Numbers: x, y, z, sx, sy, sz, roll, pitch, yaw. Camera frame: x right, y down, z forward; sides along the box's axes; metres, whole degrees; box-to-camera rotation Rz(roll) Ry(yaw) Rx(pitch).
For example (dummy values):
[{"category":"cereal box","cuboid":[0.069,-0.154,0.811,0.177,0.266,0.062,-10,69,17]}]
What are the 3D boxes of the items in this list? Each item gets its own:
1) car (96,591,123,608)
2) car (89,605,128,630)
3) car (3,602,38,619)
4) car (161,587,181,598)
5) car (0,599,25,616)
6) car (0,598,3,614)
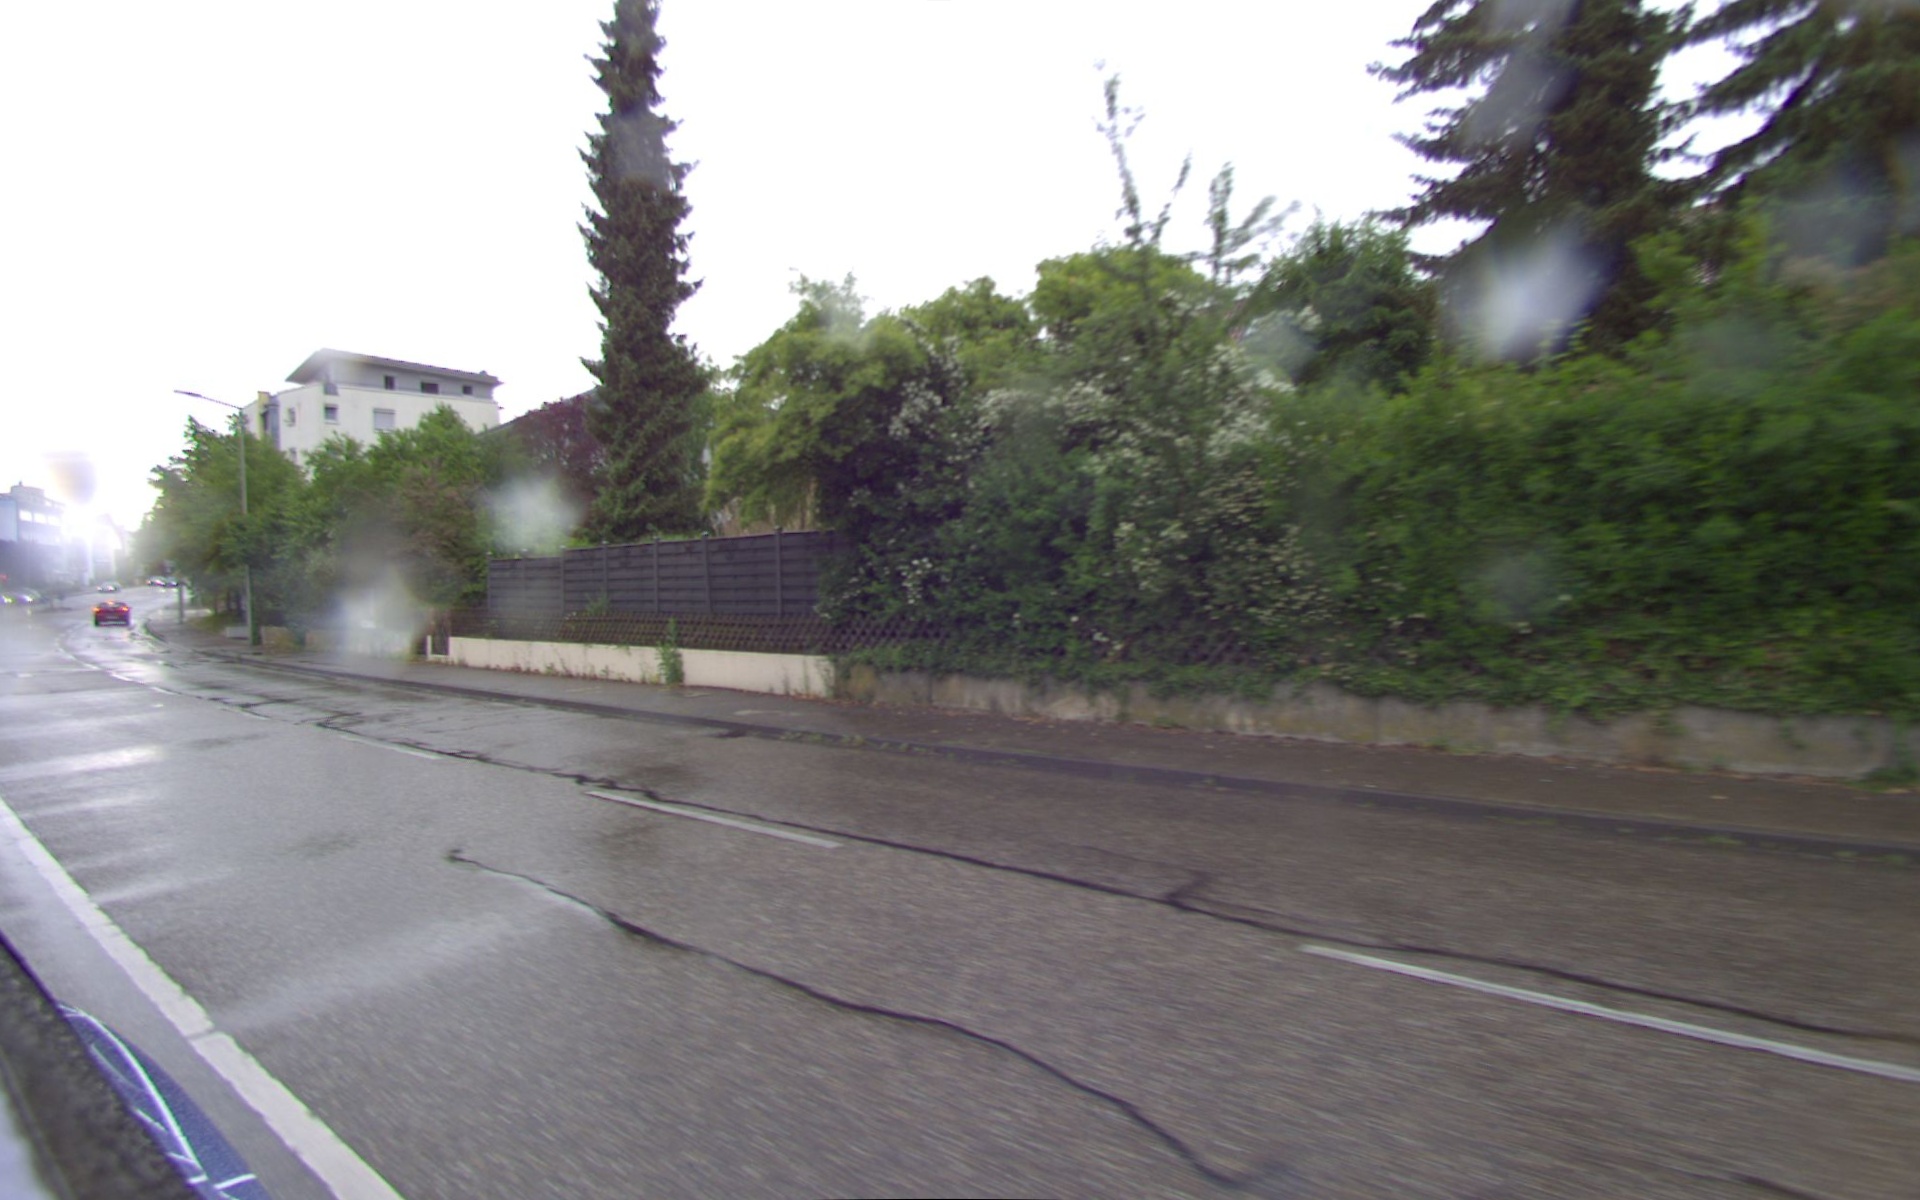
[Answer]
[{"category":"car","cuboid":[-117.813,-0.130,140.176,1.967,2.028,4.013,-6,5,-30]},{"category":"car","cuboid":[-54.145,1.105,64.374,1.752,1.518,4.112,1,0,-39]},{"category":"car","cuboid":[-97.543,1.080,105.108,1.868,1.556,4.032,-3,2,-33]},{"category":"car","cuboid":[-123.325,-1.231,158.178,1.799,1.699,4.013,-1,1,-29]},{"category":"car","cuboid":[-93.137,0.748,99.133,1.726,1.489,4.010,-3,2,-35]},{"category":"car","cuboid":[-89.369,0.609,92.599,1.713,1.497,4.162,-2,1,-31]}]
